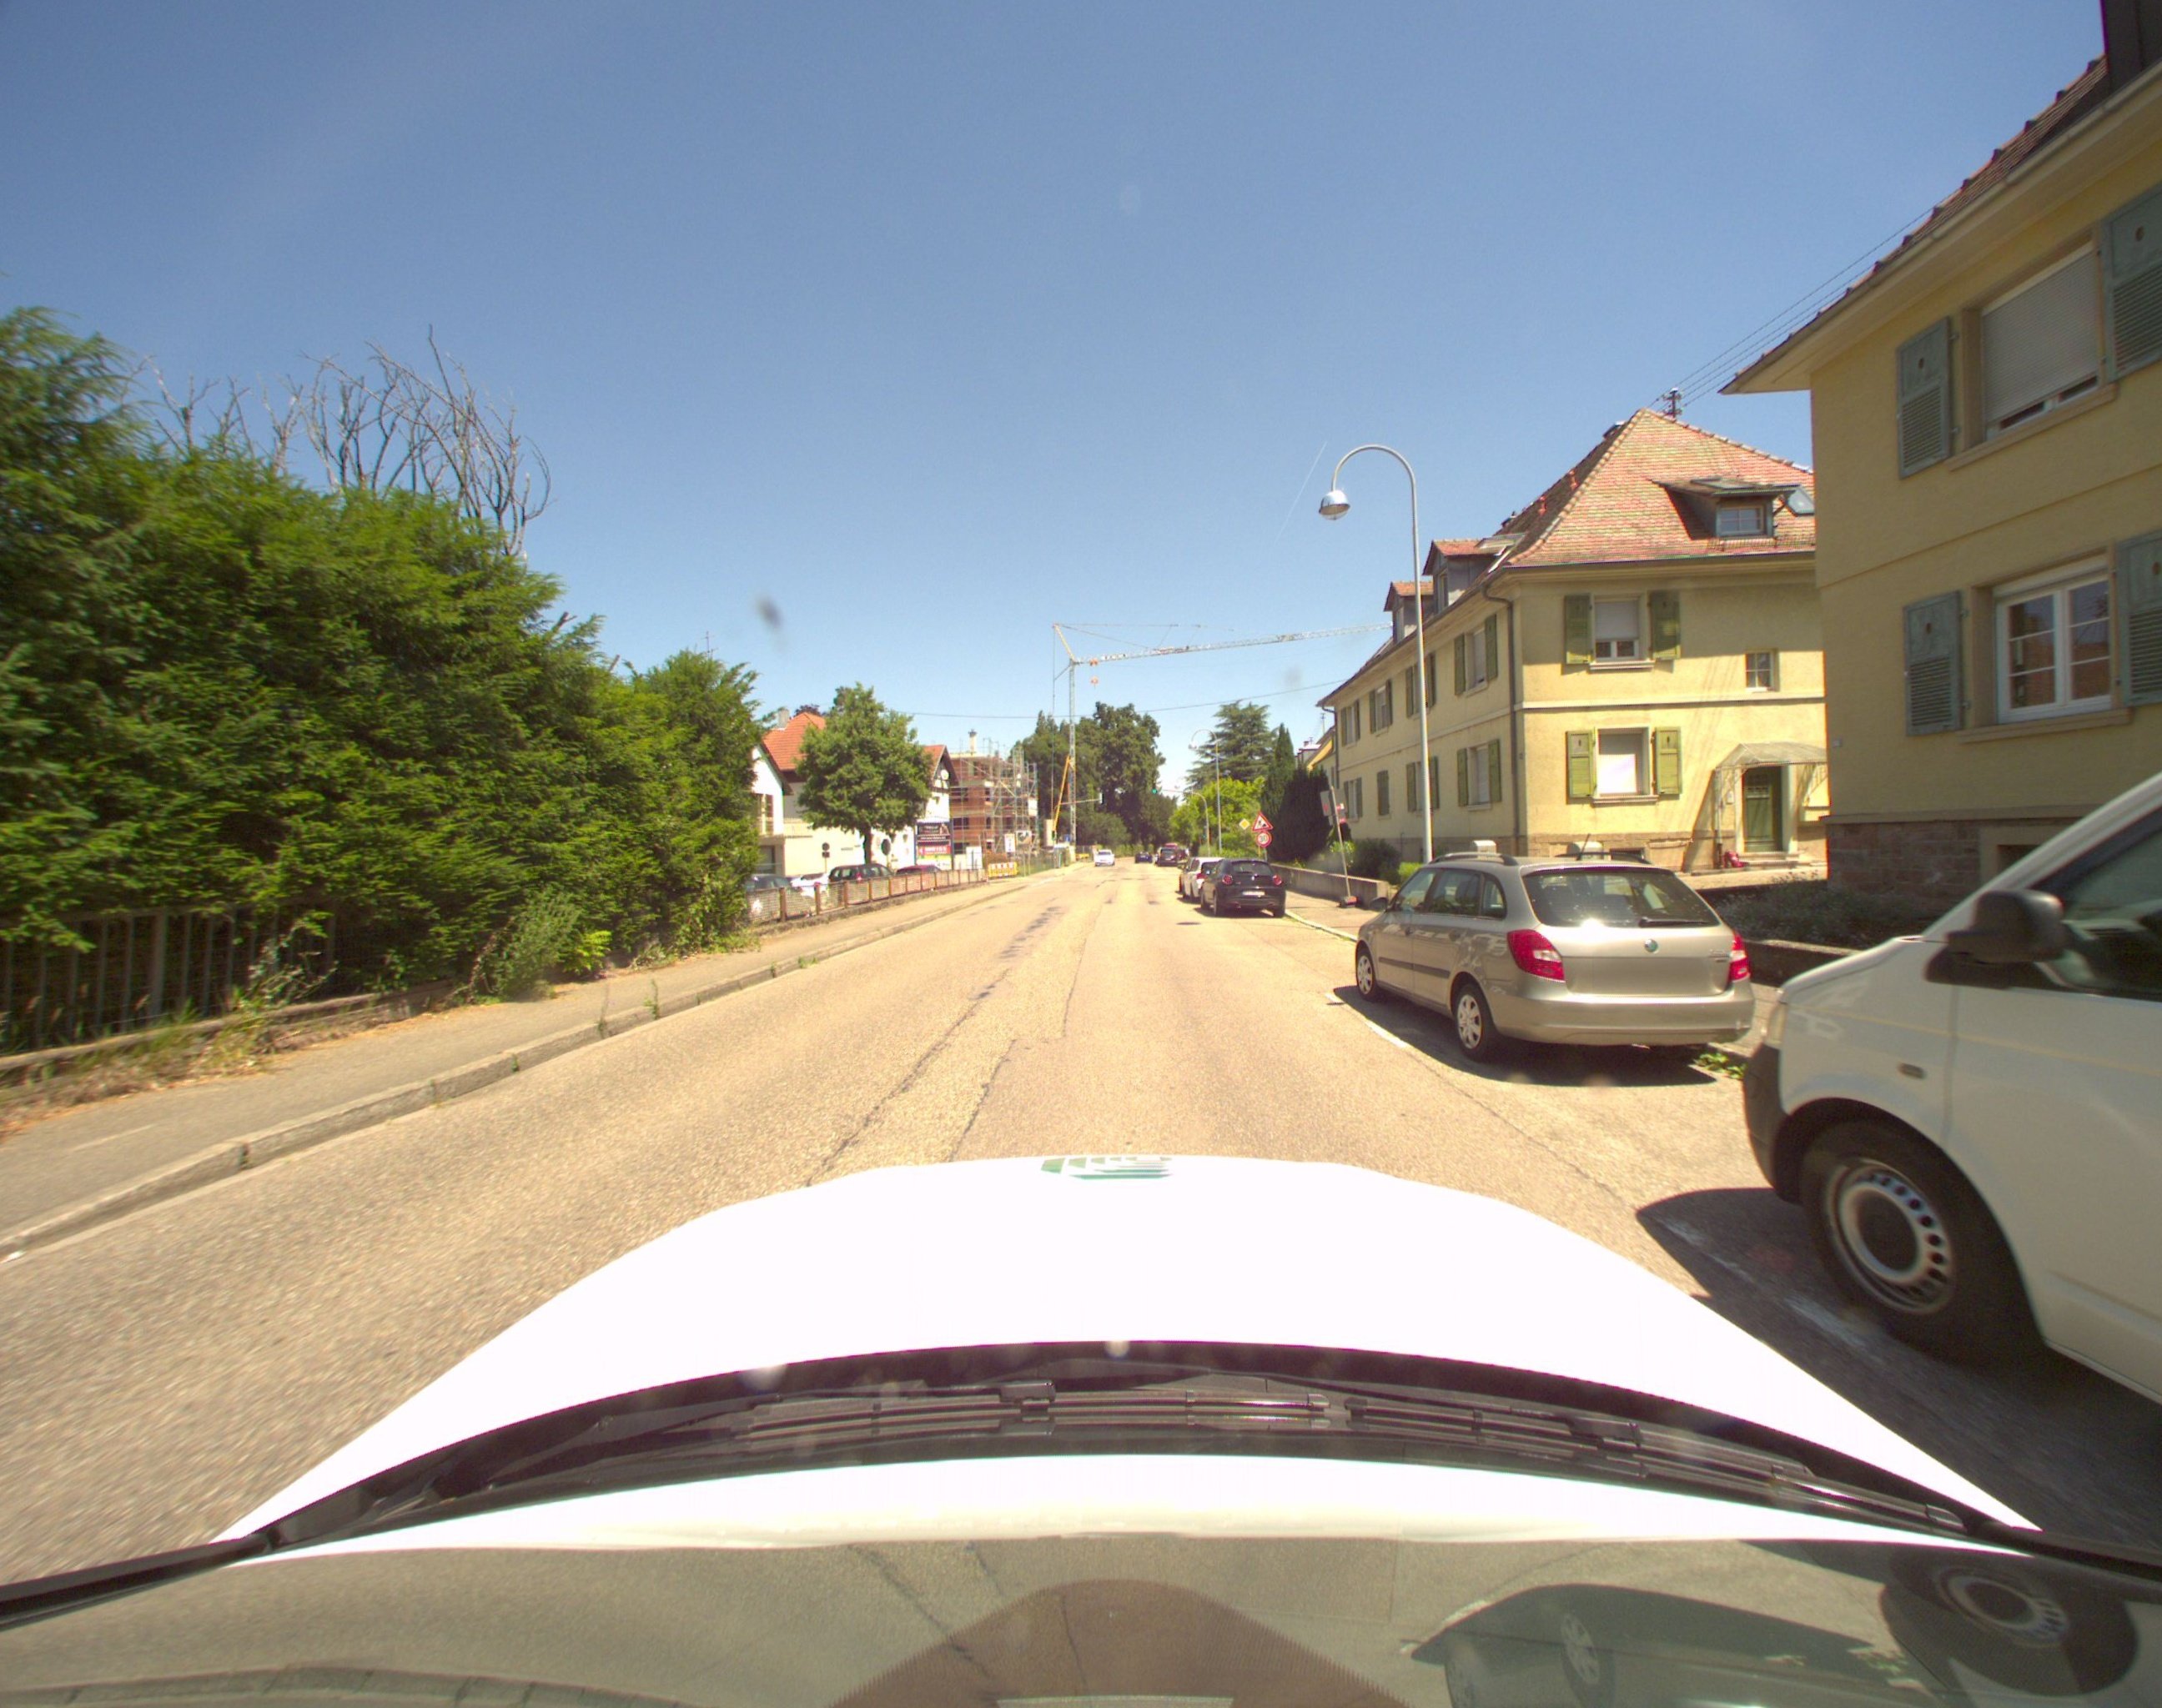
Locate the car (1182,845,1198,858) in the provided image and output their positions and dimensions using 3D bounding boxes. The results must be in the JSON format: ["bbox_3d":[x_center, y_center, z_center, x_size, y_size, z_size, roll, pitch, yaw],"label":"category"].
[{"bbox_3d":[15.115,-0.401,112.553,1.982,1.662,4.010,-2,0,9],"label":"car"}]

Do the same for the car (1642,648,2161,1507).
[{"bbox_3d":[3.368,0.501,1.131,1.986,1.901,4.825,0,0,2],"label":"car"}]

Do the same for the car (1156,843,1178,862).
[{"bbox_3d":[8.480,-0.143,80.304,1.983,1.662,4.007,-2,0,6],"label":"car"}]

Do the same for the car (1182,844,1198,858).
[{"bbox_3d":[14.434,-0.393,107.636,1.982,1.662,4.010,-2,0,9],"label":"car"}]

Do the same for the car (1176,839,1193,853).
[{"bbox_3d":[13.110,-0.953,102.974,1.982,1.662,4.010,-2,0,9],"label":"car"}]

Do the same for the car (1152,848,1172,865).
[{"bbox_3d":[8.575,0.300,85.509,1.983,1.662,4.007,-2,0,6],"label":"car"}]

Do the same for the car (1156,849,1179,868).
[{"bbox_3d":[7.990,0.403,75.421,1.983,1.574,4.007,-2,0,6],"label":"car"}]

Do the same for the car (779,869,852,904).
[{"bbox_3d":[-11.683,1.394,36.049,1.650,1.333,3.543,-2,0,8],"label":"car"}]

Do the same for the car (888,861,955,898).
[{"bbox_3d":[-6.727,1.046,34.649,1.650,1.389,3.543,-2,0,8],"label":"car"}]

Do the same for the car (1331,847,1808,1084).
[{"bbox_3d":[3.711,0.691,7.222,1.755,1.451,4.224,-1,0,1],"label":"car"}]

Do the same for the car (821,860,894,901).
[{"bbox_3d":[-9.489,1.088,34.870,1.650,1.576,3.543,-2,0,8],"label":"car"}]

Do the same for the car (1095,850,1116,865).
[{"bbox_3d":[2.442,0.351,80.857,1.752,1.451,3.846,-1,0,6],"label":"car"}]

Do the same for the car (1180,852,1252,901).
[{"bbox_3d":[4.323,0.672,26.536,1.755,1.451,3.890,-1,0,1],"label":"car"}]

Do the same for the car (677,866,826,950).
[{"bbox_3d":[-7.284,1.127,18.415,1.769,1.596,3.536,-2,0,2],"label":"car"}]

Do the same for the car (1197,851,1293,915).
[{"bbox_3d":[4.135,0.680,21.081,1.755,1.451,3.840,-1,0,1],"label":"car"}]

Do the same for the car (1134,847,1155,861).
[{"bbox_3d":[7.077,0.009,90.740,1.946,1.468,4.012,-2,1,10],"label":"car"}]
